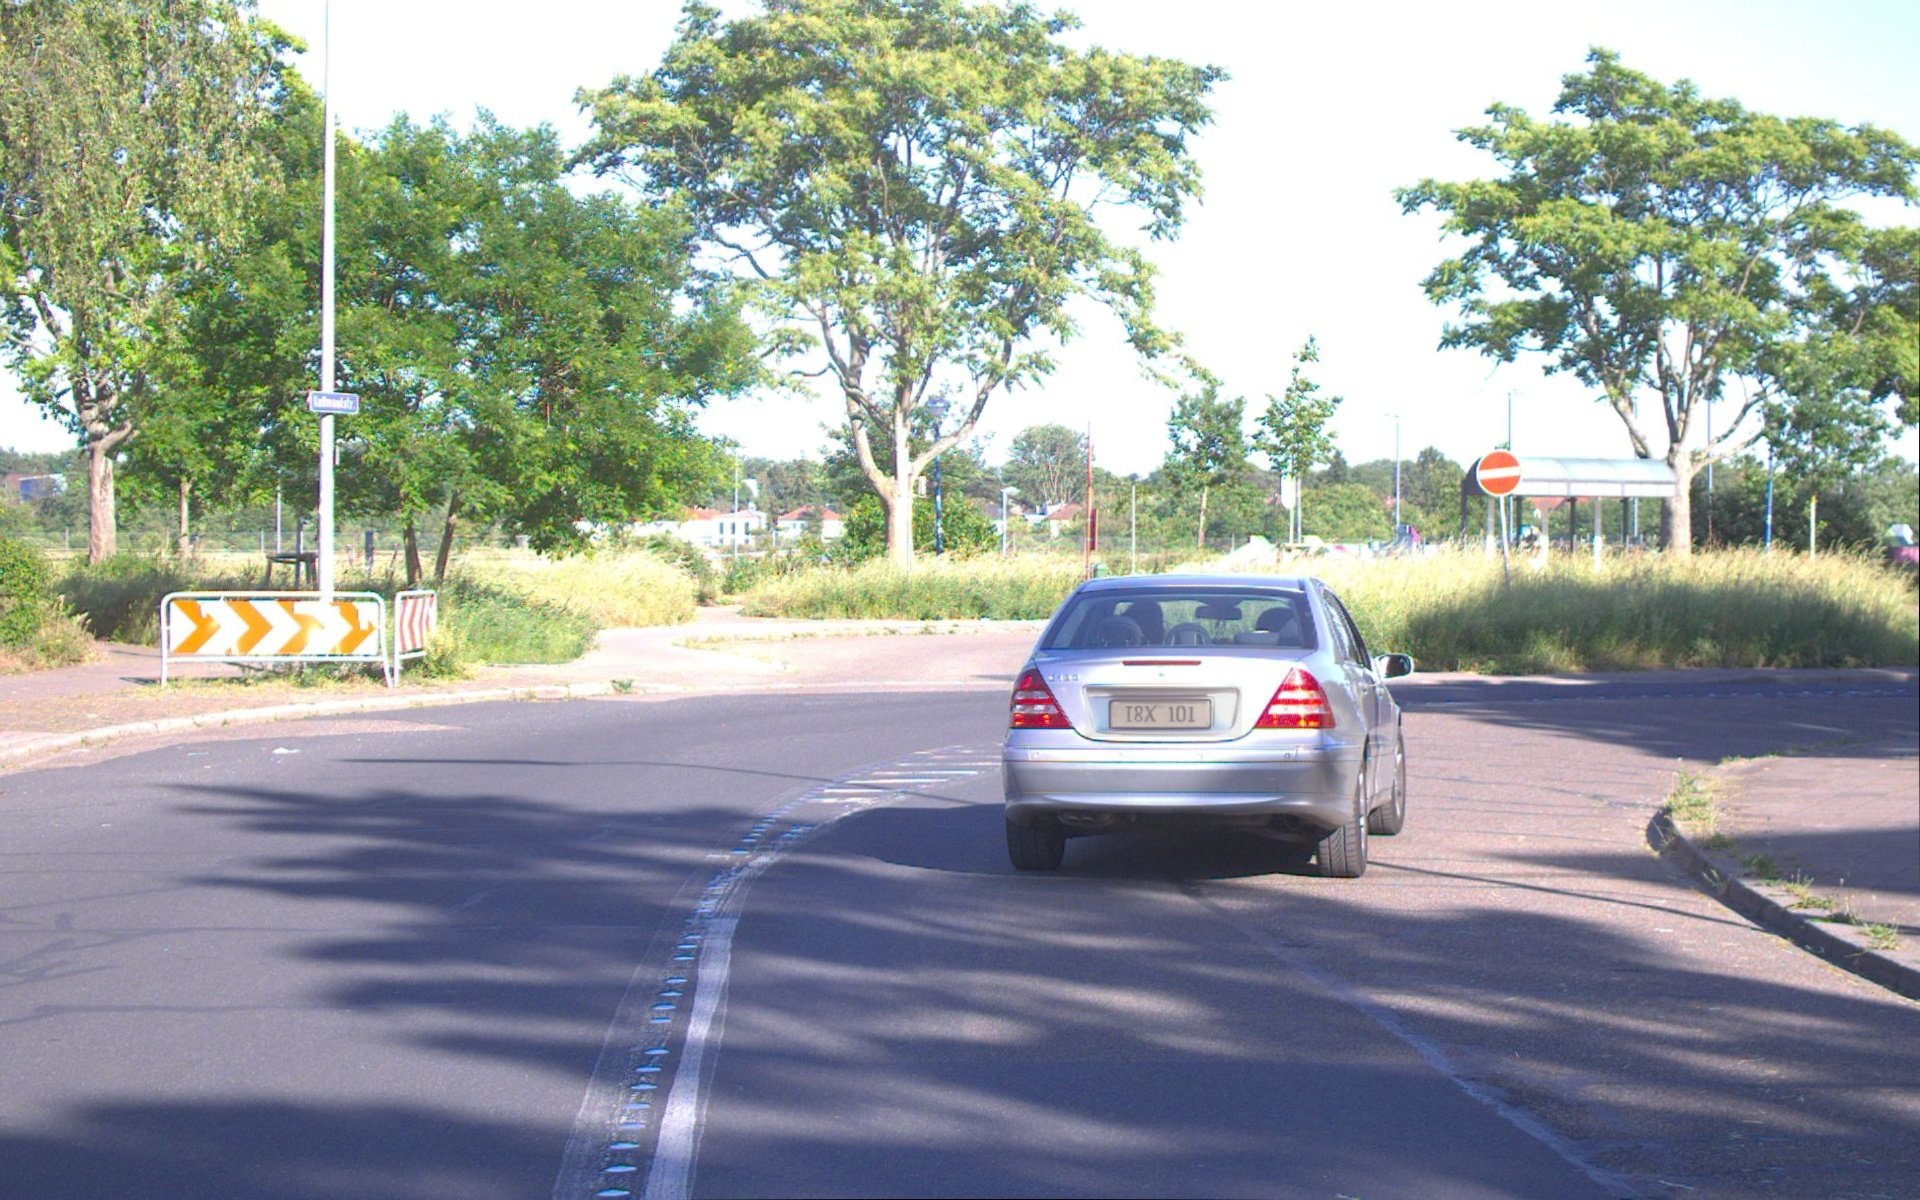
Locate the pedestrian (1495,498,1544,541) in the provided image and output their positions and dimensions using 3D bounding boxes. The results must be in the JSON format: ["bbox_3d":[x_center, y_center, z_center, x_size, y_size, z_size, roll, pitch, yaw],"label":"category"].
[{"bbox_3d":[12.449,-1.785,76.510,0.797,0.937,0.703,0,1,-29],"label":"pedestrian"}]

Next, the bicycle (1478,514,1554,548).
[{"bbox_3d":[12.364,-1.536,76.457,1.571,0.702,0.654,1,1,-29],"label":"bicycle"}]

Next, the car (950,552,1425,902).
[{"bbox_3d":[1.281,0.525,17.359,1.817,1.458,4.359,2,1,11],"label":"car"}]
